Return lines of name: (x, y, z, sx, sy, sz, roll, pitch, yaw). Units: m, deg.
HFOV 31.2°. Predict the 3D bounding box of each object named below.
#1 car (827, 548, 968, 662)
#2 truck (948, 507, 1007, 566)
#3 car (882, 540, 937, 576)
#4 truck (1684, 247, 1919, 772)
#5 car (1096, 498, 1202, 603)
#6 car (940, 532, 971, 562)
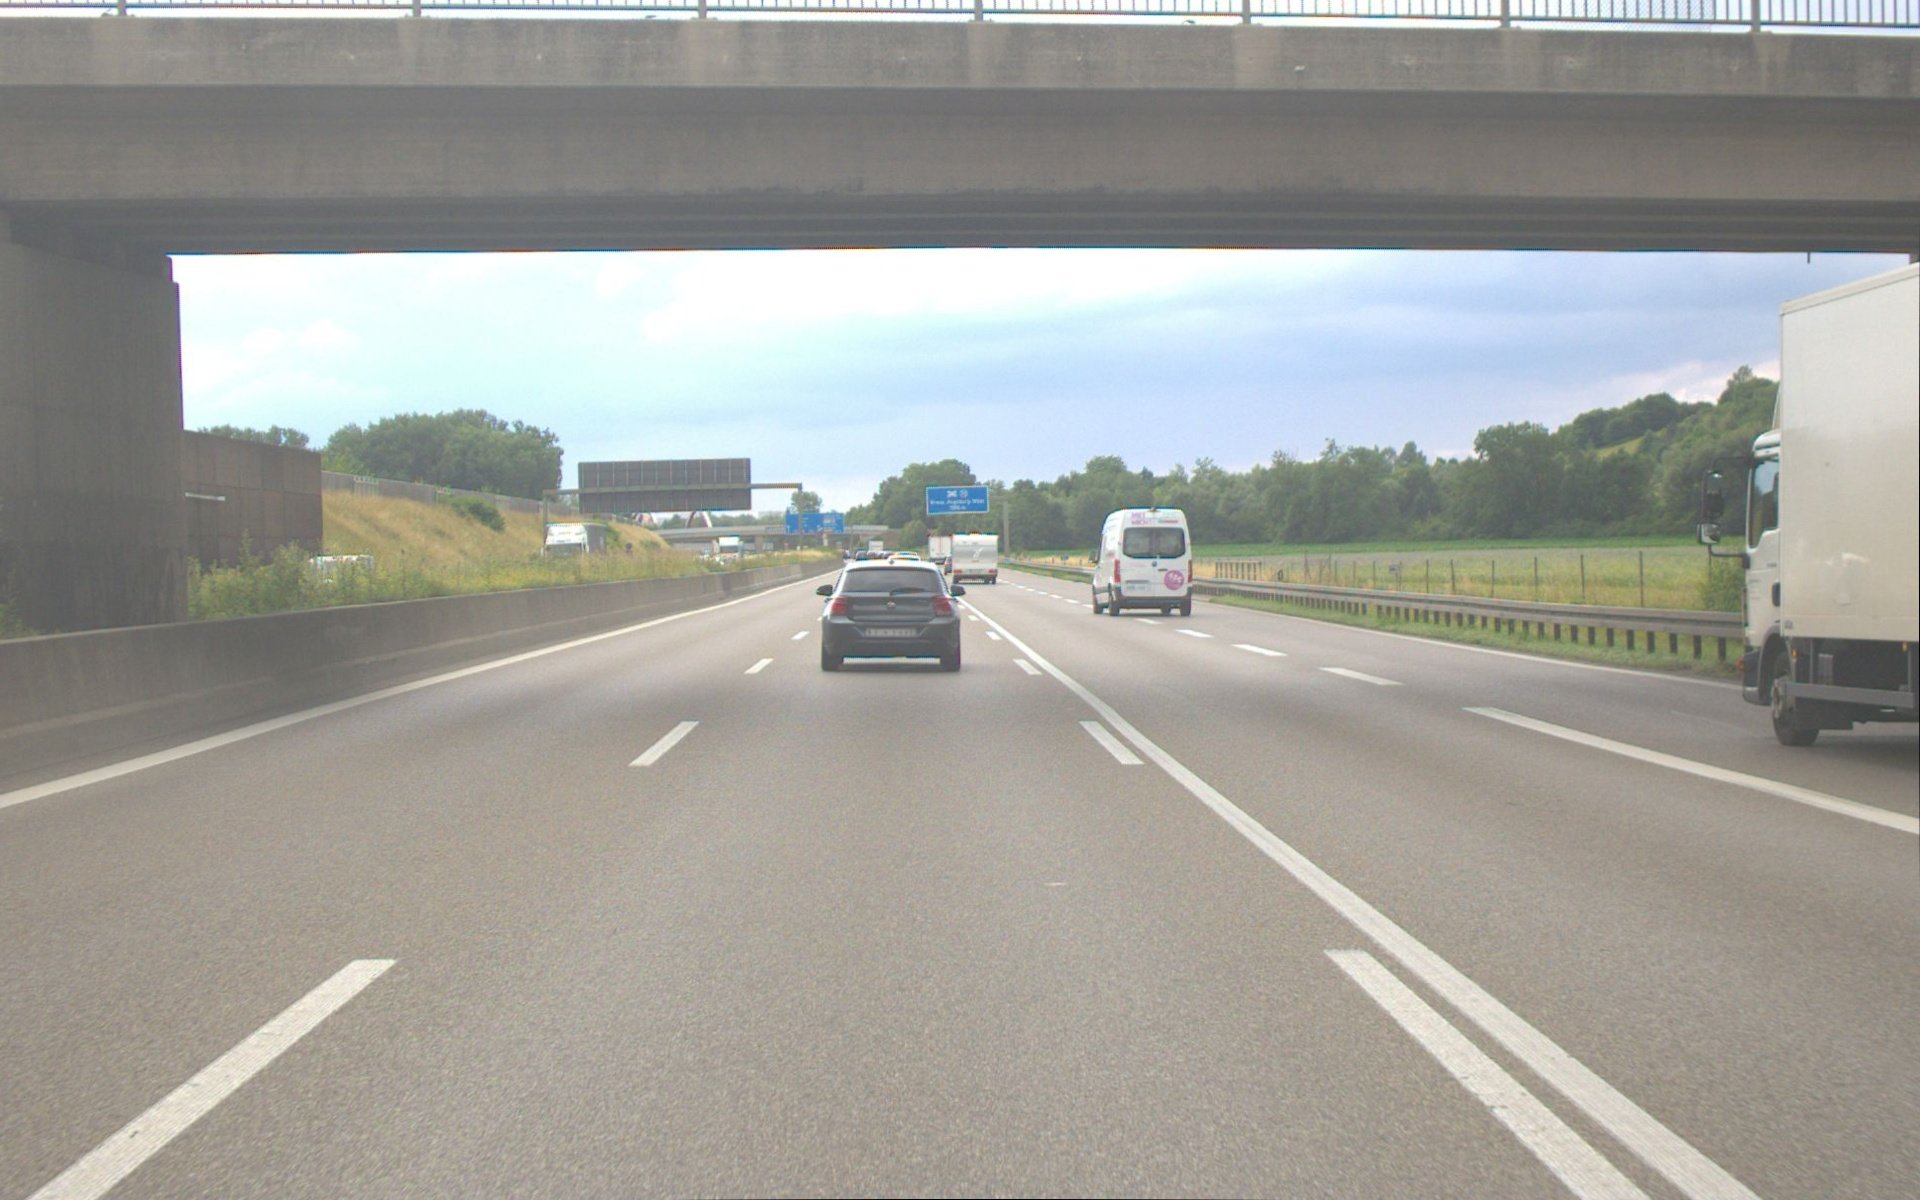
car: (-0.809, 0.027, 44.508, 1.743, 1.384, 4.000, 0, 1, -1)
truck: (0.865, -3.284, 179.996, 2.710, 2.954, 12.448, 1, 1, -1)
car: (-1.925, -1.601, 130.075, 1.993, 1.293, 4.000, -2, 1, -1)
truck: (7.801, -0.601, 24.222, 3.104, 3.459, 8.892, 1, 1, -3)
car: (4.733, -1.266, 86.922, 2.221, 2.559, 6.256, 0, 1, -1)
car: (-0.327, -3.728, 241.983, 1.993, 2.007, 4.000, -1, 1, -1)
